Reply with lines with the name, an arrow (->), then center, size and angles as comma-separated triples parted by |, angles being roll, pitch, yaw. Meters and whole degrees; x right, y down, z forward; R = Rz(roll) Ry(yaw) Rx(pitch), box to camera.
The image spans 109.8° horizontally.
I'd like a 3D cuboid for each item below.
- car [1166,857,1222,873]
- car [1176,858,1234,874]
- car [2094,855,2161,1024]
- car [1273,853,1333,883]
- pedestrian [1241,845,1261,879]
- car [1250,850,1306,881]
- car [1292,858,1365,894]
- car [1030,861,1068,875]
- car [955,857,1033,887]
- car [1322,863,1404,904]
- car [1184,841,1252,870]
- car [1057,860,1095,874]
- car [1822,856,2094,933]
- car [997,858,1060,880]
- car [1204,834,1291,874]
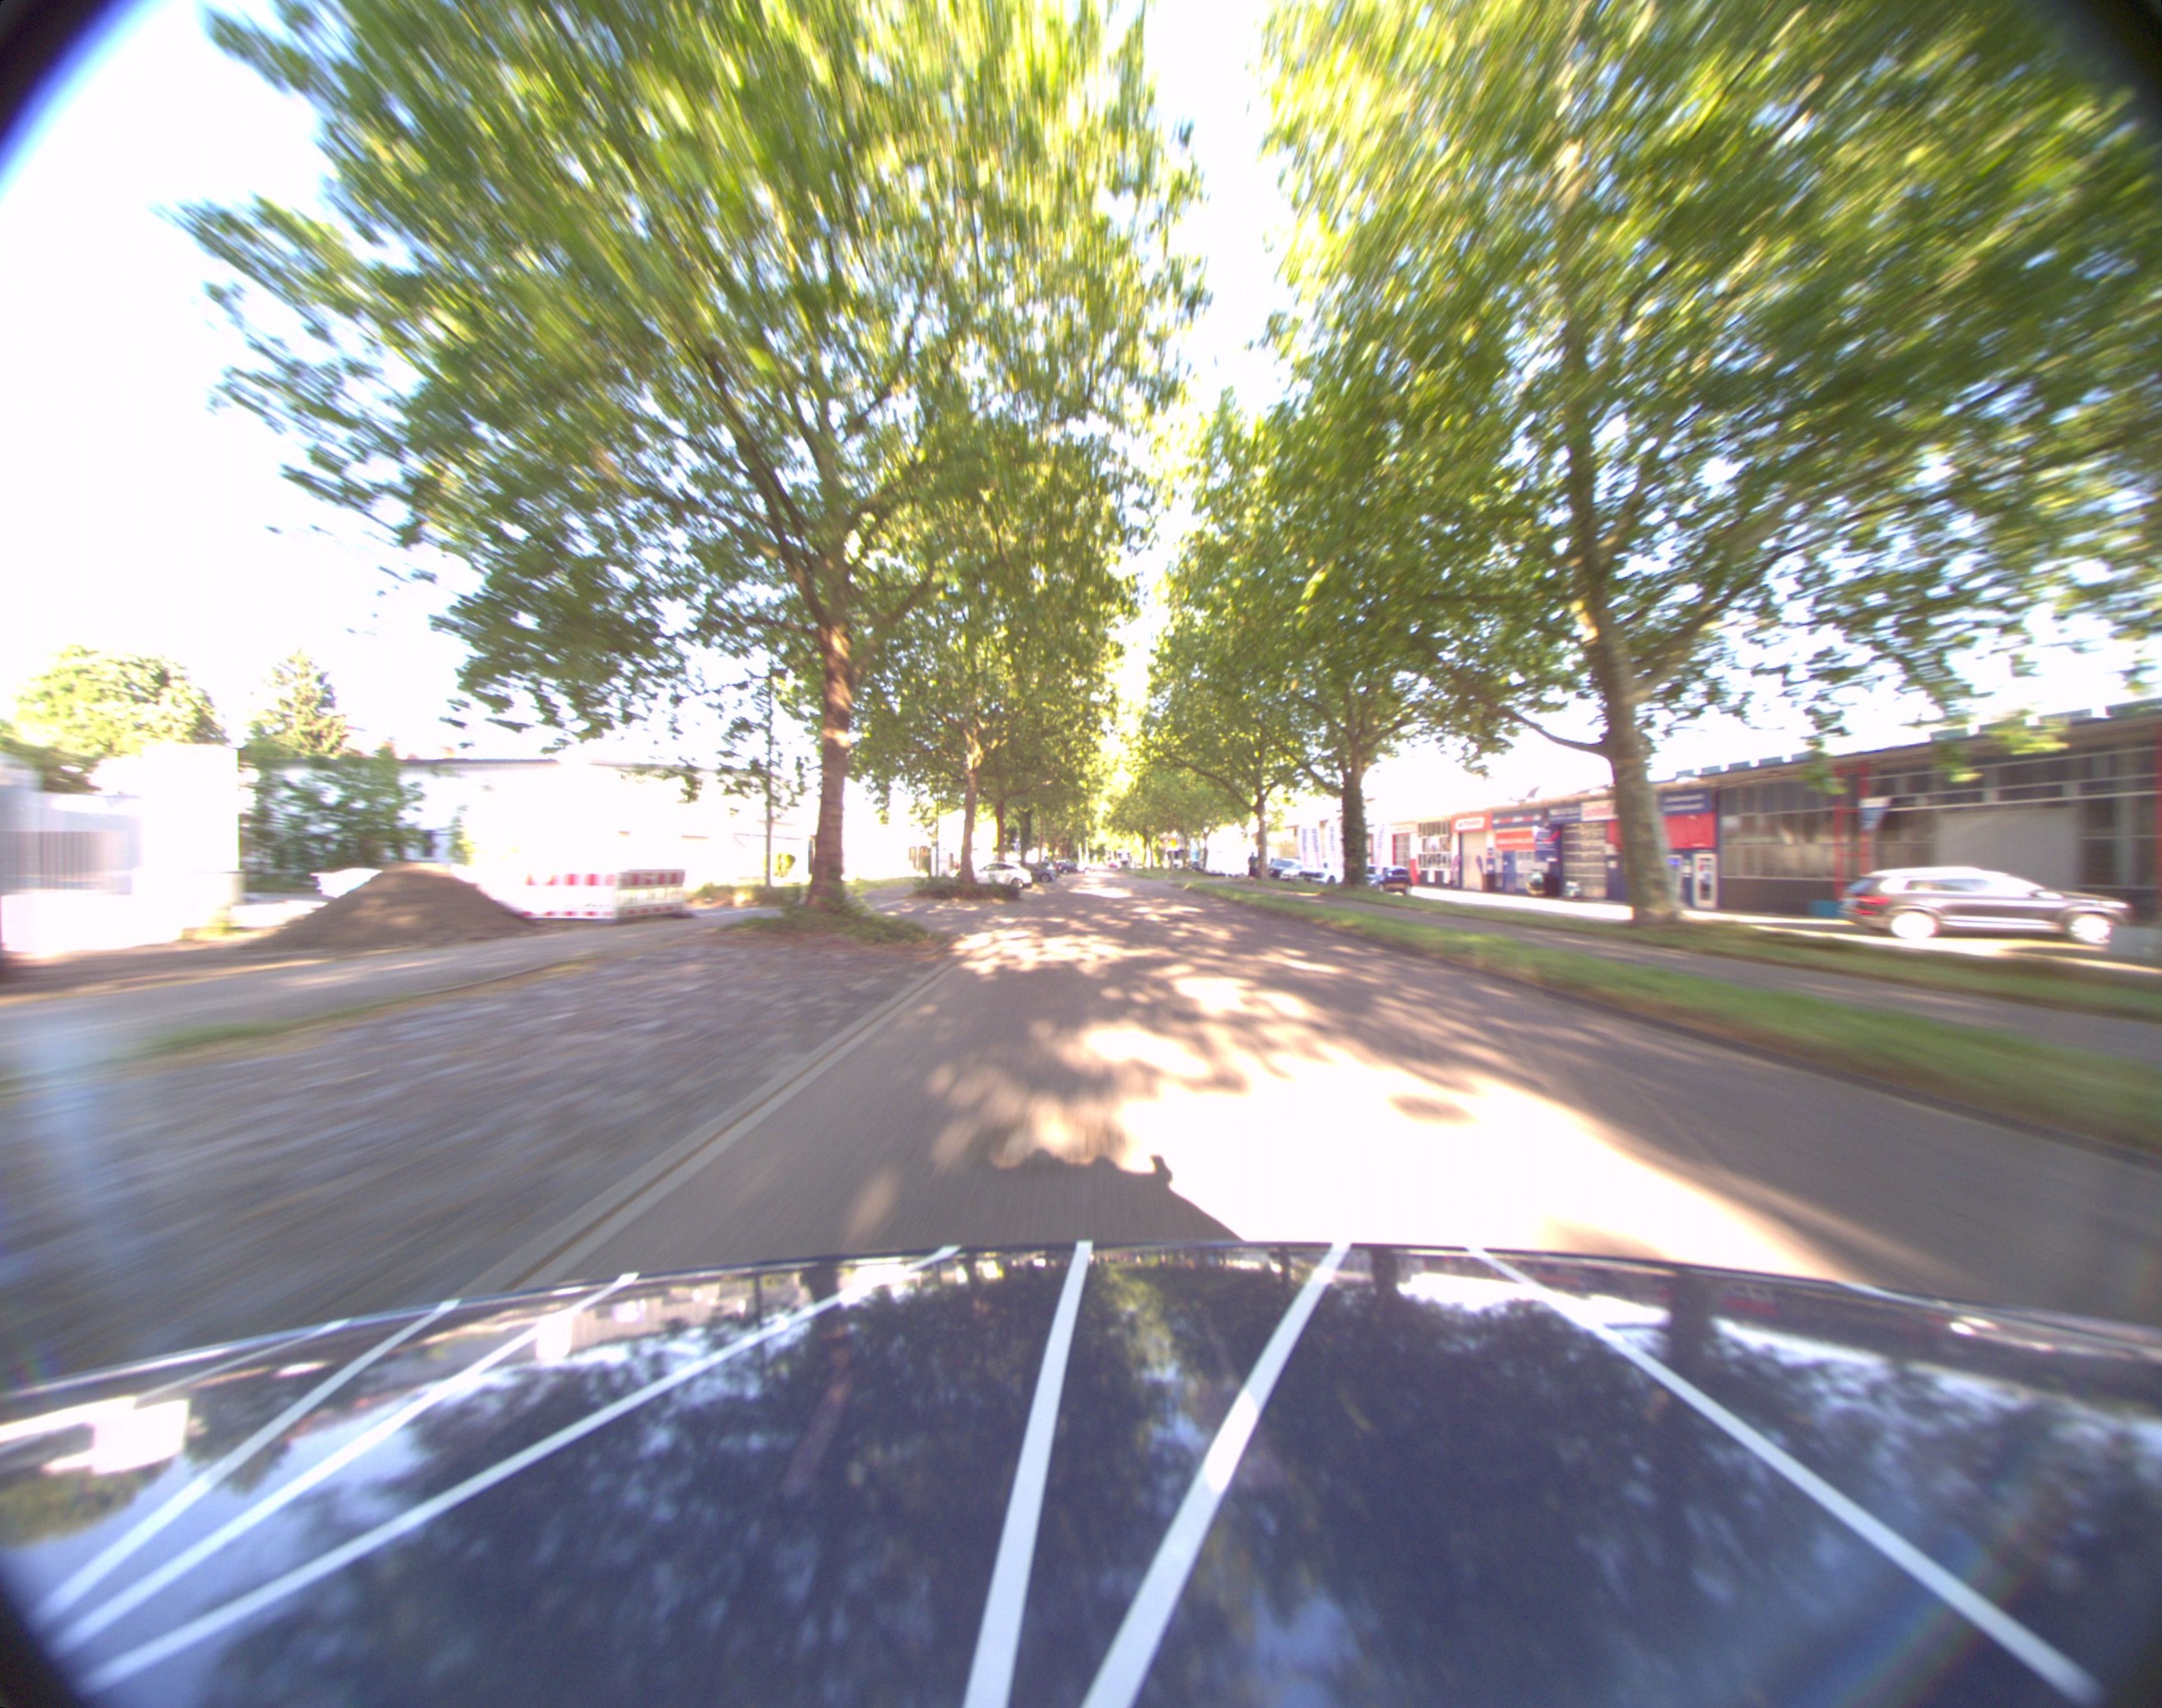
car -> 14.211, 1.420, 95.378 | 6.376, 1.669, 2.722 | 3, -2, -18
car -> 15.080, 1.501, 92.533 | 6.428, 1.669, 2.722 | 3, -2, -18
car -> 14.102, 0.859, 8.620 | 4.905, 1.749, 1.996 | -2, 1, -23
car -> 13.197, 0.791, 44.992 | 1.994, 1.561, 4.059 | -2, 1, 38
pedestrian -> 8.887, 0.405, 39.660 | 0.805, 1.762, 0.940 | -2, 1, 2
car -> 12.840, 0.724, 49.353 | 1.994, 1.829, 4.257 | -2, 1, 38
car -> 13.801, 1.194, 42.255 | 4.321, 1.741, 1.994 | -3, 1, -43
car -> -3.750, 1.589, 88.022 | 4.299, 1.410, 1.999 | 2, 0, -5
car -> -4.668, 0.952, 41.112 | 3.944, 1.504, 1.666 | 1, 1, 0
car -> 12.757, 1.290, 34.309 | 3.850, 1.565, 1.994 | -3, 1, -45
car -> 13.506, 0.221, 74.965 | 6.338, 2.482, 2.596 | 3, -2, -29
car -> -0.597, 1.537, 90.624 | 4.296, 1.410, 2.001 | 2, 0, 3
car -> 21.667, 0.975, 19.053 | 3.990, 1.696, 2.003 | -2, 1, 28
car -> -3.780, 1.047, 54.541 | 4.405, 1.410, 1.999 | 2, 0, -5
car -> 13.826, 0.063, 63.043 | 6.972, 2.835, 2.596 | 3, -2, -28
